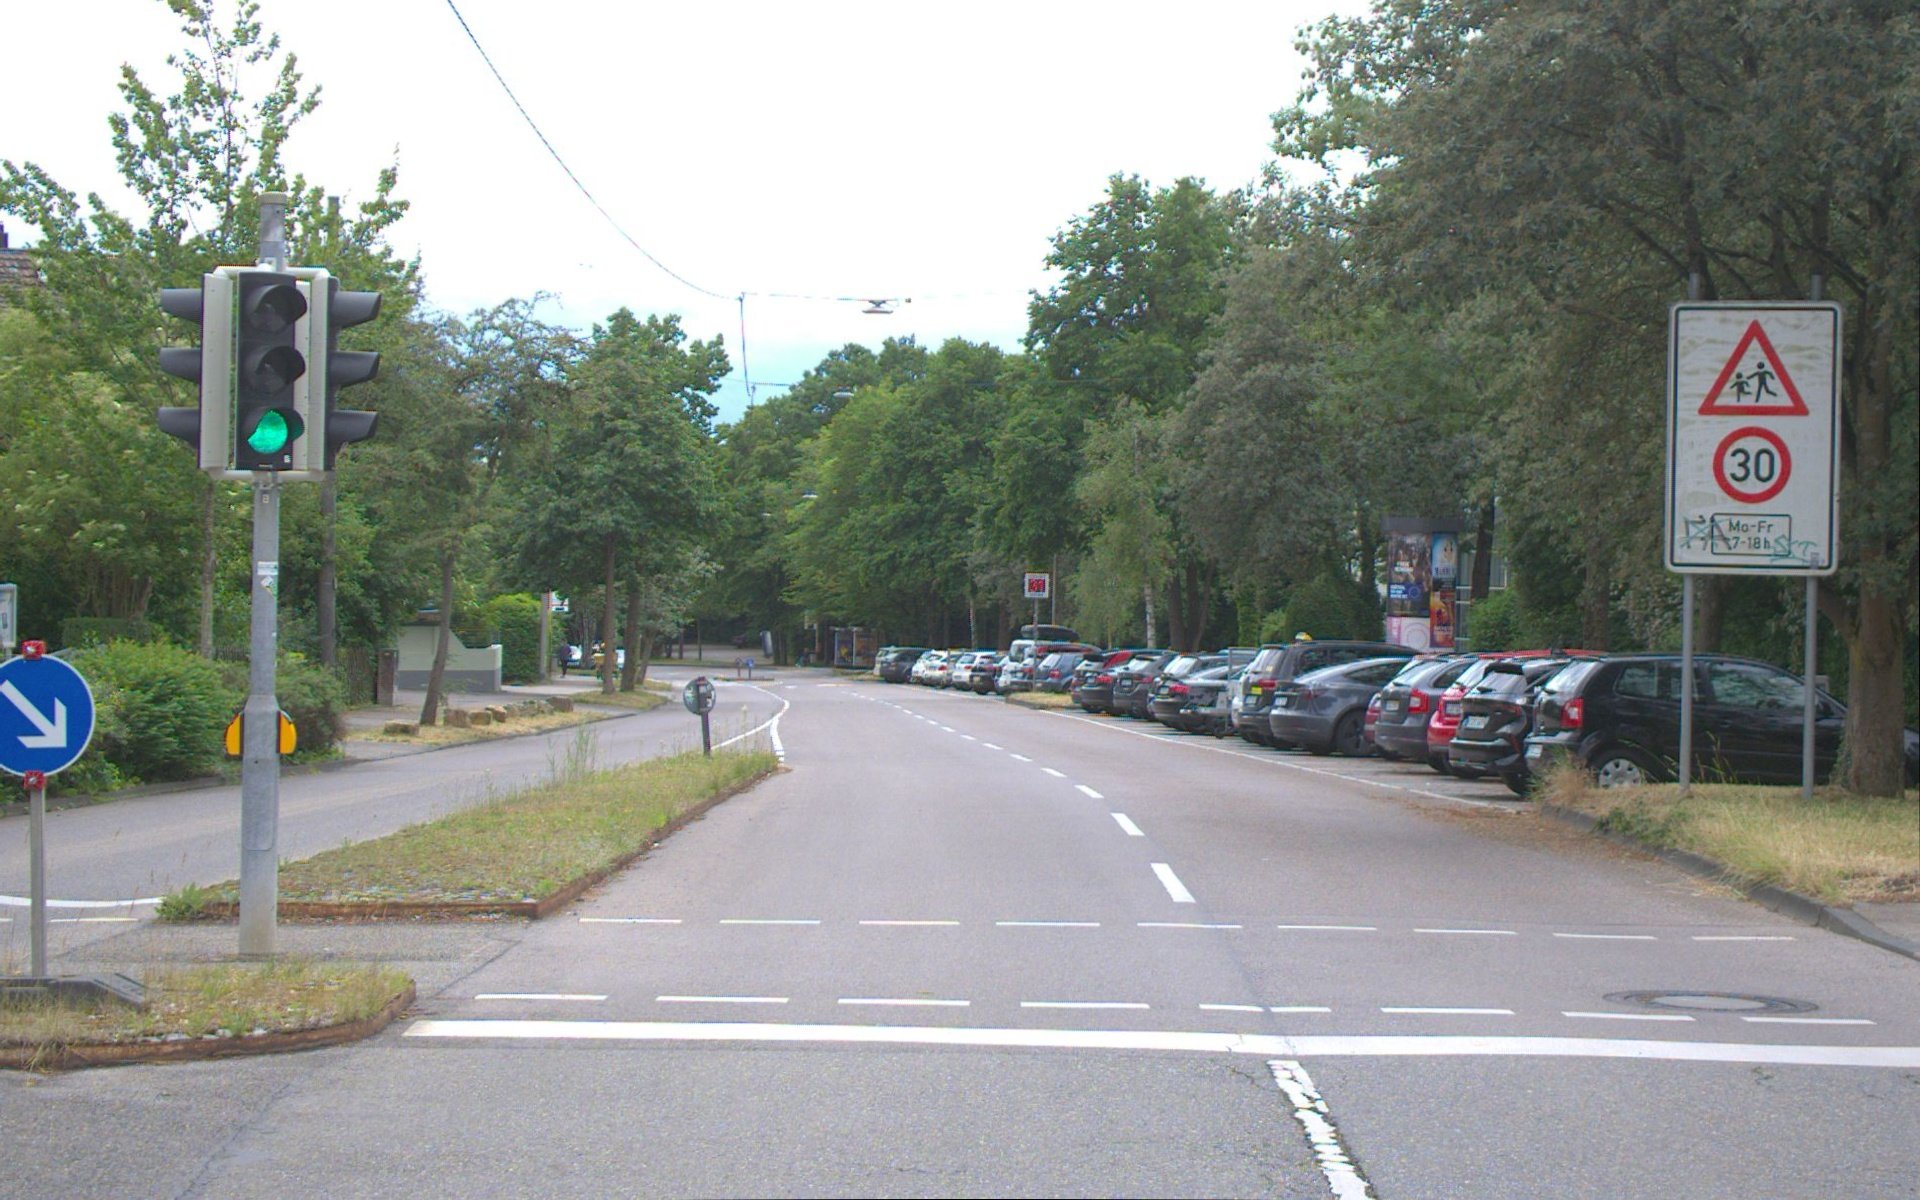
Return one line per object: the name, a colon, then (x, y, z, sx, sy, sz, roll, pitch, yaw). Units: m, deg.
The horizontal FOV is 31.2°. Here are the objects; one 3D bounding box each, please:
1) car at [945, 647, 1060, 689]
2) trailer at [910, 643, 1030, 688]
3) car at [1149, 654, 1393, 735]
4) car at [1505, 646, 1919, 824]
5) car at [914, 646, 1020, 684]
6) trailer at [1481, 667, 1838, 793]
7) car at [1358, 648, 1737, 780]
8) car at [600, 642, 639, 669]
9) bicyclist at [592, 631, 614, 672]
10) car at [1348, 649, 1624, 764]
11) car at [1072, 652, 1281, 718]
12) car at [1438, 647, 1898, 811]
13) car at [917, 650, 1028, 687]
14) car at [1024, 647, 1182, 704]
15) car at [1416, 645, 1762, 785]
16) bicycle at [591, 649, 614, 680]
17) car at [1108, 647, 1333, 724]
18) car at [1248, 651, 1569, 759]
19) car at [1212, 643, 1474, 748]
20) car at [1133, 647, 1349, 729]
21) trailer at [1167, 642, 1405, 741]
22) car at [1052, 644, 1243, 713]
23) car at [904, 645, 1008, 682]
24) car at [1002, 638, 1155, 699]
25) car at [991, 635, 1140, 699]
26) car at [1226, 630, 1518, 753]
car: (1.590, 2.549, 128.116, 3.883, 1.444, 1.744, 2, -1, -24)
trailer: (0.375, 2.479, 130.240, 4.153, 1.568, 1.712, 3, -2, -22)
car: (5.558, 1.694, 61.536, 4.036, 1.323, 1.559, 2, -2, -11)
car: (7.071, 1.232, 31.727, 3.715, 1.471, 1.576, 2, 0, -5)
car: (0.272, 2.613, 138.718, 3.883, 1.424, 1.744, 2, -1, -22)
trailer: (7.544, 1.399, 37.203, 3.401, 1.262, 1.617, 2, -2, -12)
car: (7.151, 1.381, 41.949, 4.218, 1.459, 1.635, 2, -1, -11)
car: (-19.069, 3.091, 192.439, 1.866, 1.466, 4.001, 1, -1, -10)
bicyclist: (-15.140, 2.187, 145.798, 0.844, 1.692, 0.714, 2, 0, -5)
car: (7.158, 1.445, 46.908, 3.325, 1.459, 1.635, 2, -1, -12)
car: (4.856, 1.905, 77.200, 4.311, 1.336, 1.734, 2, -1, -16)
car: (6.987, 1.272, 34.026, 4.134, 1.471, 1.577, 2, -1, -13)
car: (0.488, 2.636, 132.934, 3.884, 1.305, 1.744, 2, -1, -27)
car: (3.957, 2.086, 95.222, 3.963, 1.401, 1.757, 3, -1, -17)
car: (7.198, 1.310, 39.448, 3.522, 1.471, 1.592, 2, -1, -15)
bicycle: (-15.156, 2.738, 145.813, 0.844, 1.262, 2.652, 2, 0, -5)
car: (5.422, 1.790, 71.684, 4.343, 1.440, 1.634, 2, -1, -17)
car: (6.360, 1.489, 48.880, 4.158, 1.402, 1.698, 2, -1, -13)
car: (6.038, 1.503, 54.382, 3.820, 1.524, 1.606, 2, -1, -6)
car: (5.471, 1.715, 67.087, 3.839, 1.450, 1.634, 2, -1, -14)
trailer: (5.609, 1.568, 59.199, 3.687, 1.530, 1.646, 2, -1, -14)
car: (4.358, 1.818, 79.953, 4.070, 1.510, 1.734, 2, -1, -25)
car: (-0.156, 2.610, 141.277, 3.883, 1.424, 1.744, 2, -1, -22)
car: (3.459, 1.989, 100.549, 3.995, 1.614, 1.885, 3, -1, -19)
car: (3.171, 2.022, 103.358, 4.085, 1.748, 1.787, 3, -1, -29)
car: (6.168, 1.370, 51.605, 3.984, 1.719, 1.681, 2, -1, -12)
